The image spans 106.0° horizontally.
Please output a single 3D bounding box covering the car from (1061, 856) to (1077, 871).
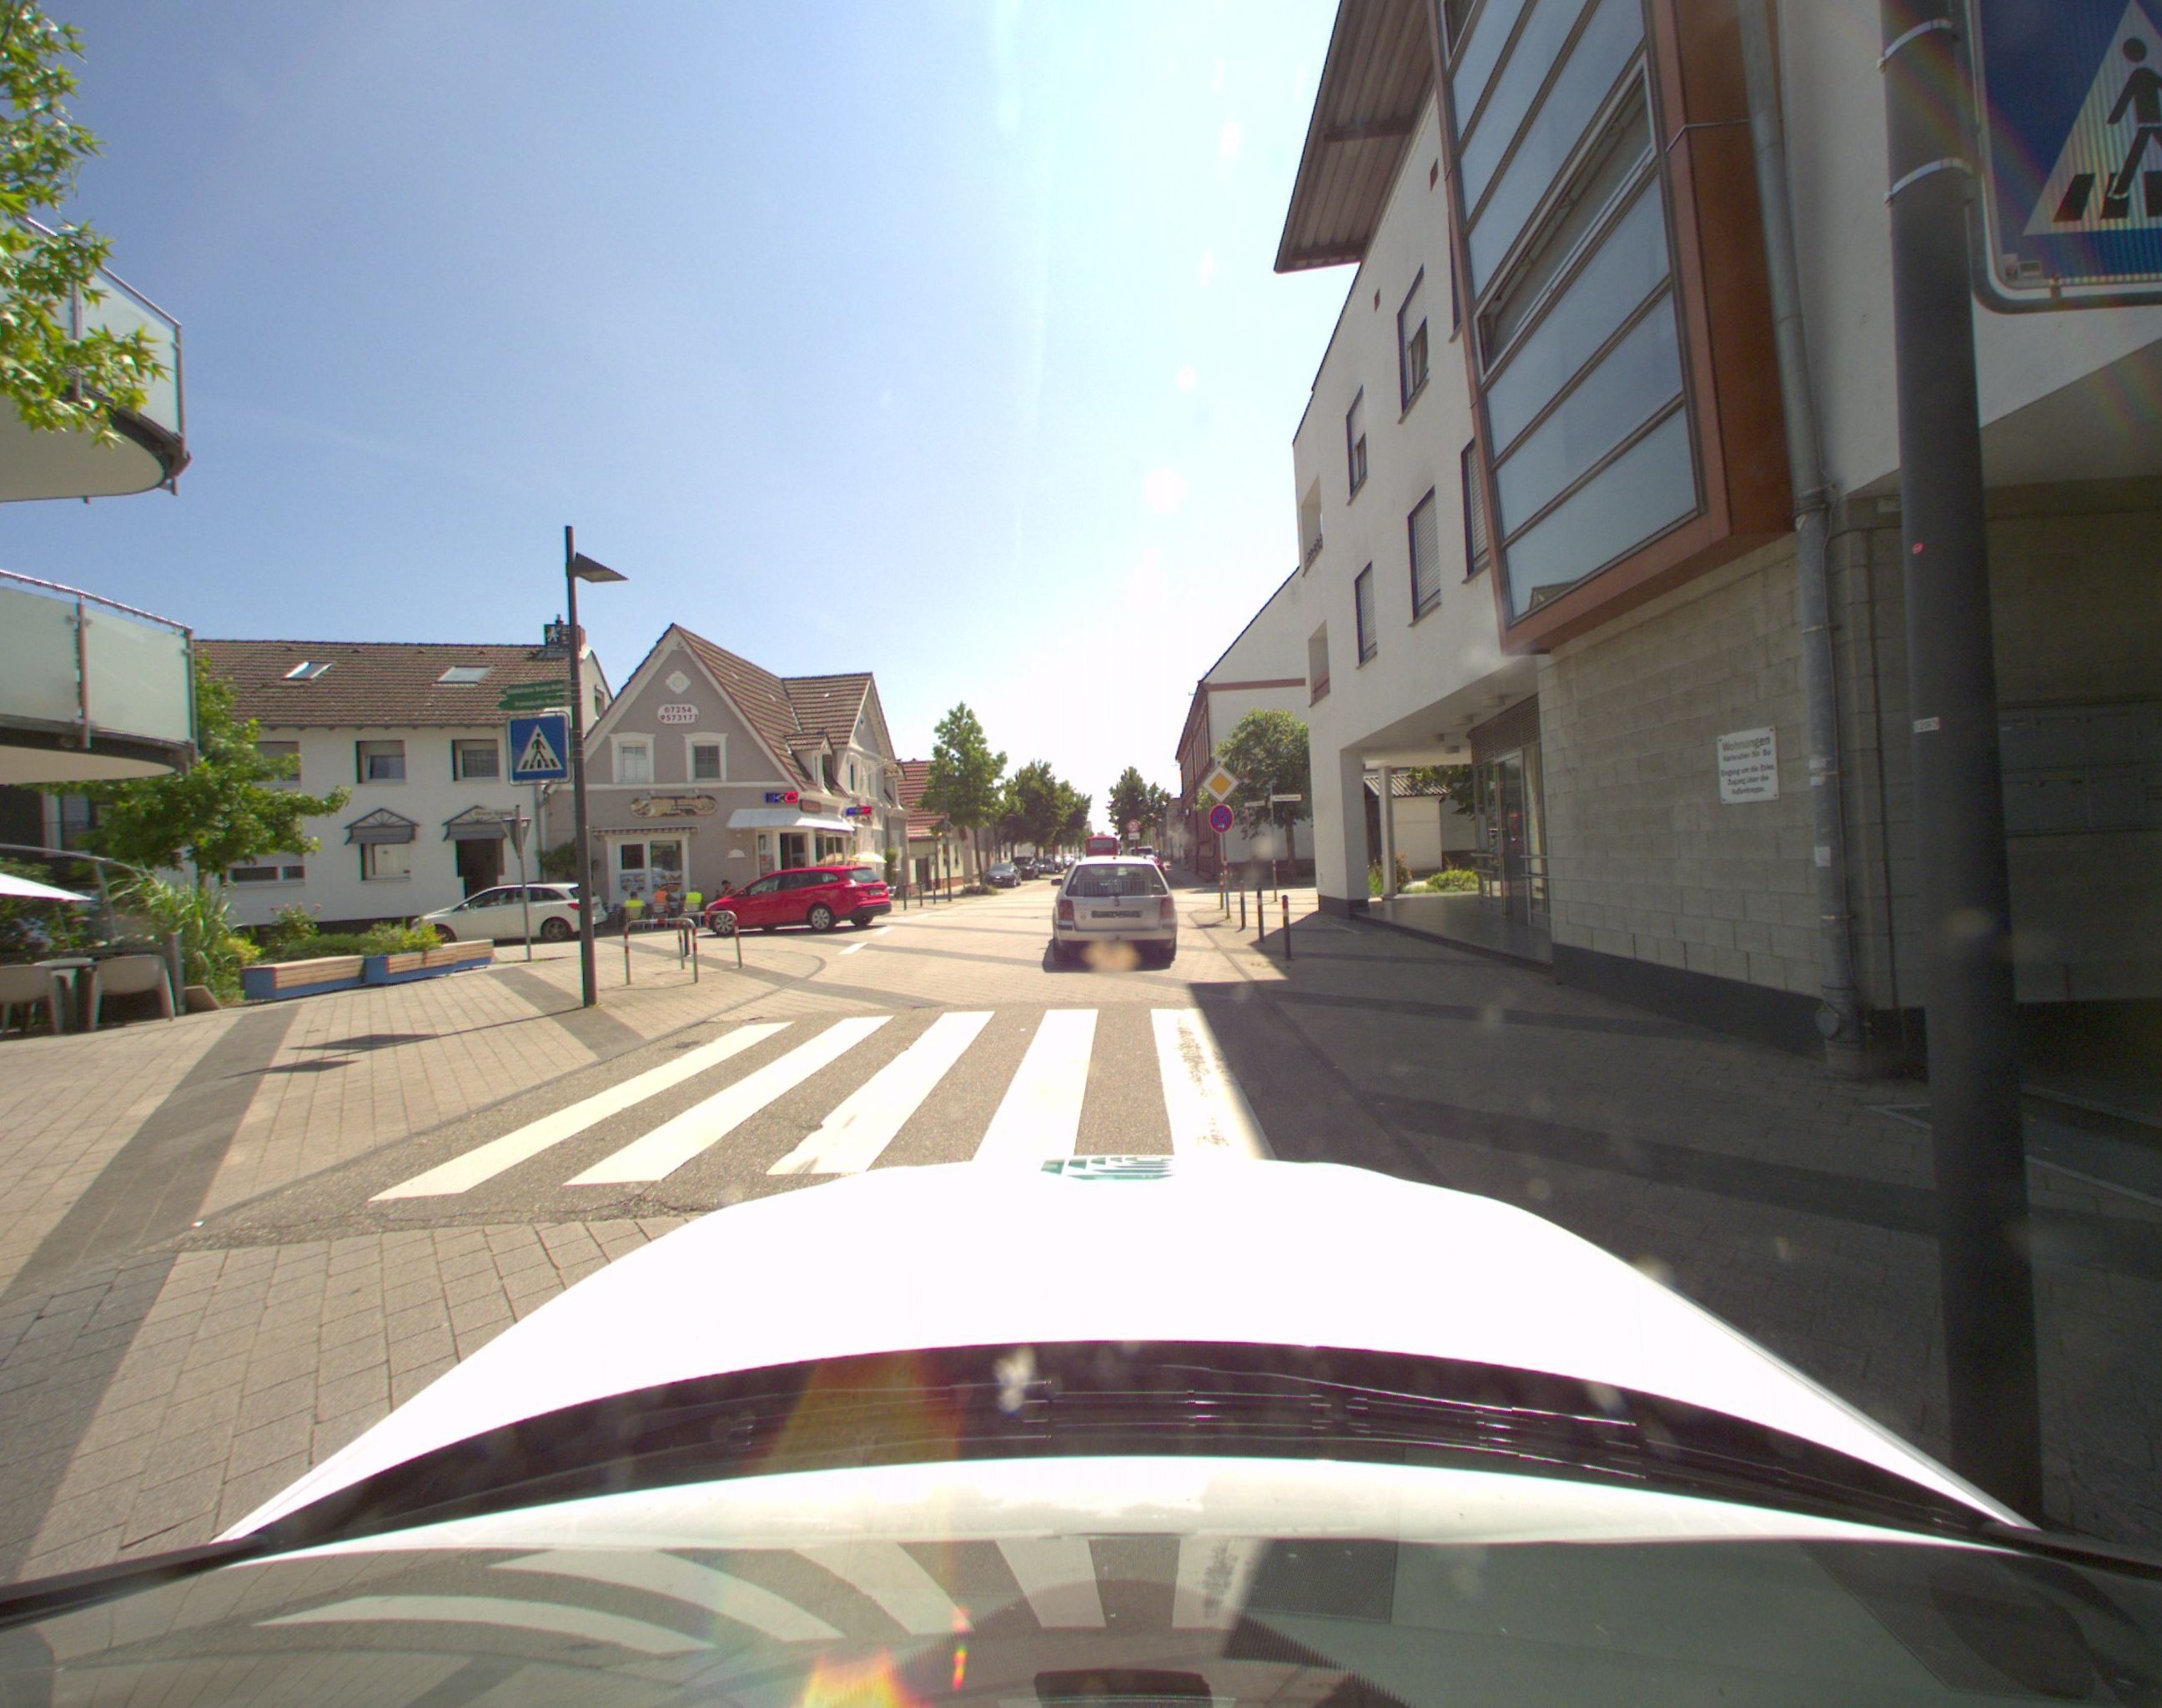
[{"bbox_3d":[-1.481,1.175,100.791,1.713,1.802,4.003,-3,0,3],"label":"car"}]

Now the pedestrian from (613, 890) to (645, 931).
[{"bbox_3d":[-12.903,1.590,23.241,0.639,1.116,0.780,0,-1,-41],"label":"pedestrian"}]

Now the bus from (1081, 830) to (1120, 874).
[{"bbox_3d":[1.840,-0.106,69.886,2.728,3.298,12.716,-2,-1,4],"label":"bus"}]

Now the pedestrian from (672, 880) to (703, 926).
[{"bbox_3d":[-11.502,1.423,23.796,0.639,1.289,0.780,0,-1,-41],"label":"pedestrian"}]

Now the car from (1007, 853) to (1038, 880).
[{"bbox_3d":[-4.268,0.882,59.822,1.757,1.838,3.791,-3,0,3],"label":"car"}]

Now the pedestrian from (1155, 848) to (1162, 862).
[{"bbox_3d":[9.022,0.122,94.657,0.604,1.667,0.789,-3,-1,1],"label":"pedestrian"}]

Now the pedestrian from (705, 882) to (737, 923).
[{"bbox_3d":[-10.972,1.463,24.817,0.620,1.179,0.696,-3,-1,-2],"label":"pedestrian"}]

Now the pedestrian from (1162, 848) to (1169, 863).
[{"bbox_3d":[9.786,0.153,94.228,0.604,1.667,0.789,-3,-1,1],"label":"pedestrian"}]

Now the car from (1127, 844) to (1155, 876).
[{"bbox_3d":[4.295,0.427,58.397,1.781,2.082,3.628,-3,0,2],"label":"car"}]

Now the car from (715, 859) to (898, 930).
[{"bbox_3d":[-6.354,0.920,18.936,3.639,1.430,1.690,-3,0,16],"label":"car"}]

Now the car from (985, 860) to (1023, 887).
[{"bbox_3d":[-4.513,1.125,48.204,1.599,1.438,4.067,-3,0,3],"label":"car"}]

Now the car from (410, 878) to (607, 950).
[{"bbox_3d":[-15.105,1.542,21.688,3.919,1.545,1.512,-3,1,-12],"label":"car"}]

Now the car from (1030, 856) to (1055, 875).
[{"bbox_3d":[-3.473,1.051,74.528,1.804,1.559,4.003,-3,0,3],"label":"car"}]

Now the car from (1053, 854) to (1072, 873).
[{"bbox_3d":[-2.139,1.062,93.240,1.804,1.995,4.003,-3,0,3],"label":"car"}]

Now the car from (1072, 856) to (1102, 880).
[{"bbox_3d":[0.411,0.848,50.657,1.586,1.430,3.683,-1,0,4],"label":"car"}]

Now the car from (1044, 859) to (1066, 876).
[{"bbox_3d":[-2.612,1.371,81.236,1.804,1.559,4.003,-3,0,3],"label":"car"}]

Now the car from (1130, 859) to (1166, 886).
[{"bbox_3d":[3.505,0.939,43.198,1.712,1.309,3.628,-3,0,2],"label":"car"}]

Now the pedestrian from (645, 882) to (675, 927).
[{"bbox_3d":[-12.422,1.478,24.019,0.639,1.289,0.780,0,-1,-41],"label":"pedestrian"}]

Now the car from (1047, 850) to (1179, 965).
[{"bbox_3d":[0.501,0.697,12.312,1.670,1.430,3.682,-1,0,3],"label":"car"}]
